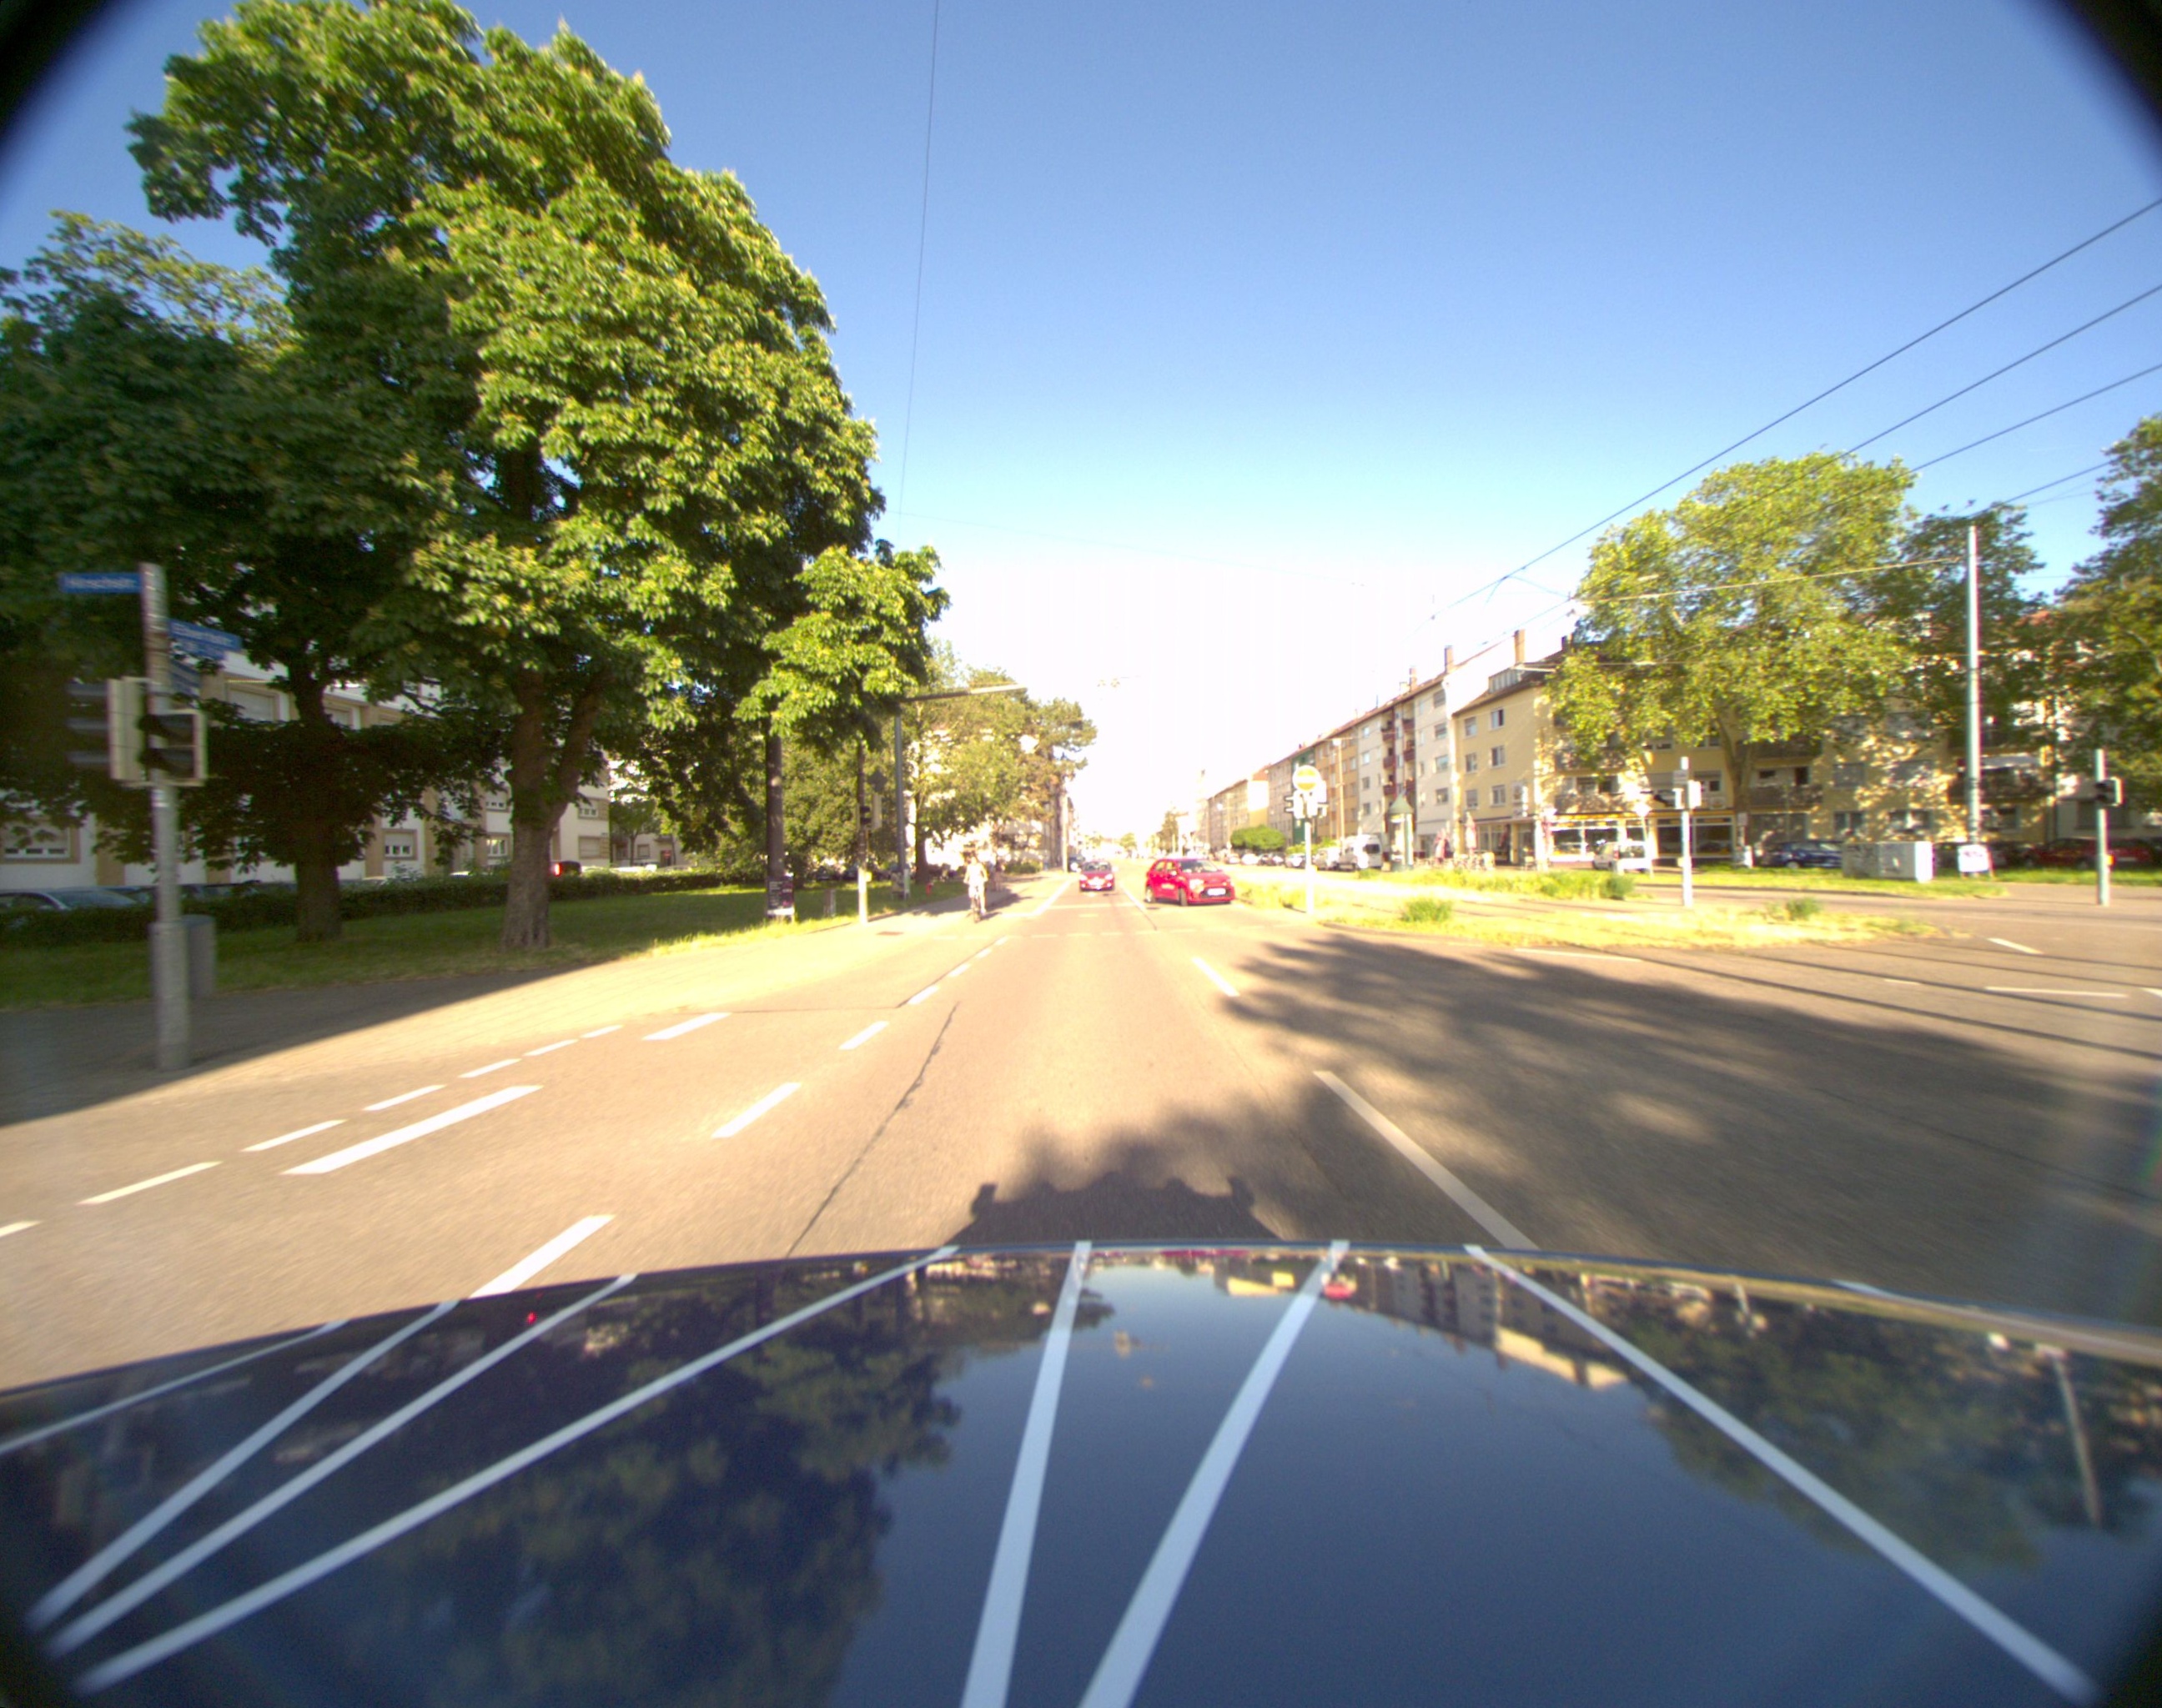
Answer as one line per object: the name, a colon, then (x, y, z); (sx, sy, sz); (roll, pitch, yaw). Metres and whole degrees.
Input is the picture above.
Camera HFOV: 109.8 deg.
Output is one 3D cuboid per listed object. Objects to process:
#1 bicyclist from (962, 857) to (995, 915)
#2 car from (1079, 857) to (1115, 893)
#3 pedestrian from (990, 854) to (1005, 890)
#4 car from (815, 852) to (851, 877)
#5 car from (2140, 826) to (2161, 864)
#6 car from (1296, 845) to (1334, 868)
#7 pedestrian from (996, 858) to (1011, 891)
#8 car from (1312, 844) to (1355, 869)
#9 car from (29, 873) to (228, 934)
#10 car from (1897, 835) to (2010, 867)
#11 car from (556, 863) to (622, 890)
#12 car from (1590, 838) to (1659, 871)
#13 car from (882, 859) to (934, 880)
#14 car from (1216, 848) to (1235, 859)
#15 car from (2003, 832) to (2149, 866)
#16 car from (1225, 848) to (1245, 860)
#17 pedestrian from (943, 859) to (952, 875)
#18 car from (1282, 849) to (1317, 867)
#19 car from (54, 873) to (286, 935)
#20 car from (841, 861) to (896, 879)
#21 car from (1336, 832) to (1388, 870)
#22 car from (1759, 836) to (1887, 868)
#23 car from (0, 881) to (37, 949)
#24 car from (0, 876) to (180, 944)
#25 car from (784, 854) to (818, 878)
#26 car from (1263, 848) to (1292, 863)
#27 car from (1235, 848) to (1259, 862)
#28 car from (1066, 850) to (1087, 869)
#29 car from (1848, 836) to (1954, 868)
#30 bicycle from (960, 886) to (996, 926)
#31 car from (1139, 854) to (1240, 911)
bicyclist: (-2.689, 0.821, 19.976); (0.678, 1.466, 0.936); (-2, 1, 1)
car: (0.804, 0.945, 36.419); (1.619, 1.537, 4.277); (-2, 0, 2)
pedestrian: (-3.996, 0.840, 36.164); (0.567, 1.688, 0.595); (-2, 1, -17)
car: (-18.287, 0.759, 56.216); (2.000, 1.689, 4.272); (-2, 0, -12)
car: (49.254, -0.414, 32.798); (1.996, 1.695, 3.938); (-2, 1, 13)
car: (22.396, 0.200, 72.920); (2.144, 2.022, 4.865); (-2, 0, 1)
pedestrian: (-3.625, 0.948, 35.475); (0.596, 1.518, 0.633); (-2, 1, -9)
car: (22.202, 0.178, 67.015); (2.144, 2.022, 5.157); (-2, 0, 1)
car: (-33.698, 1.670, 27.096); (1.999, 1.833, 3.999); (-2, 0, 0)
car: (46.089, -0.180, 40.280); (1.996, 1.543, 3.938); (-2, 0, 13)
car: (-34.476, 1.573, 53.362); (1.905, 1.680, 4.084); (-2, 0, 0)
car: (32.348, 0.000, 45.349); (1.909, 1.871, 4.003); (-2, 1, 13)
car: (-12.233, 1.075, 53.883); (1.997, 1.316, 4.280); (-2, 0, 11)
car: (23.459, -0.029, 123.852); (2.144, 1.697, 5.402); (-2, 0, 1)
car: (40.159, -0.231, 30.832); (1.641, 1.300, 4.005); (-1, 1, 19)
car: (23.749, -0.009, 117.309); (2.144, 1.697, 5.402); (-2, 0, 1)
pedestrian: (-9.524, 0.932, 54.251); (0.459, 1.072, 0.613); (-2, 1, 1)
car: (22.585, 0.404, 78.713); (2.144, 1.697, 5.157); (-2, 0, 1)
car: (-24.786, 1.336, 20.792); (3.996, 1.440, 2.000); (-2, 1, 2)
car: (-15.099, 1.129, 54.239); (1.997, 1.060, 4.280); (-2, 0, 11)
car: (22.079, -0.261, 59.904); (2.230, 2.808, 5.229); (-2, 1, 1)
car: (35.103, -0.107, 36.082); (3.990, 1.429, 1.720); (-1, 1, 24)
car: (-25.298, 1.395, 15.985); (3.996, 1.440, 2.000); (-2, 1, 2)
car: (-25.050, 1.359, 18.458); (3.996, 1.440, 2.000); (-2, 1, 2)
car: (-21.298, 0.893, 57.946); (2.001, 1.689, 4.271); (-2, 1, -15)
car: (22.888, 0.172, 88.709); (2.144, 1.697, 5.446); (-2, 0, 1)
car: (22.691, 0.103, 104.128); (2.144, 1.697, 5.446); (-2, 0, 1)
car: (-0.448, 0.534, 80.021); (1.998, 1.806, 4.000); (-3, 0, 1)
car: (43.876, -0.127, 40.809); (1.996, 1.543, 3.938); (-2, 0, 13)
bicycle: (-2.678, 1.337, 19.925); (0.684, 0.925, 1.736); (-1, 0, 0)
car: (3.266, 0.813, 23.545); (1.545, 1.522, 3.597); (-4, 1, -19)
